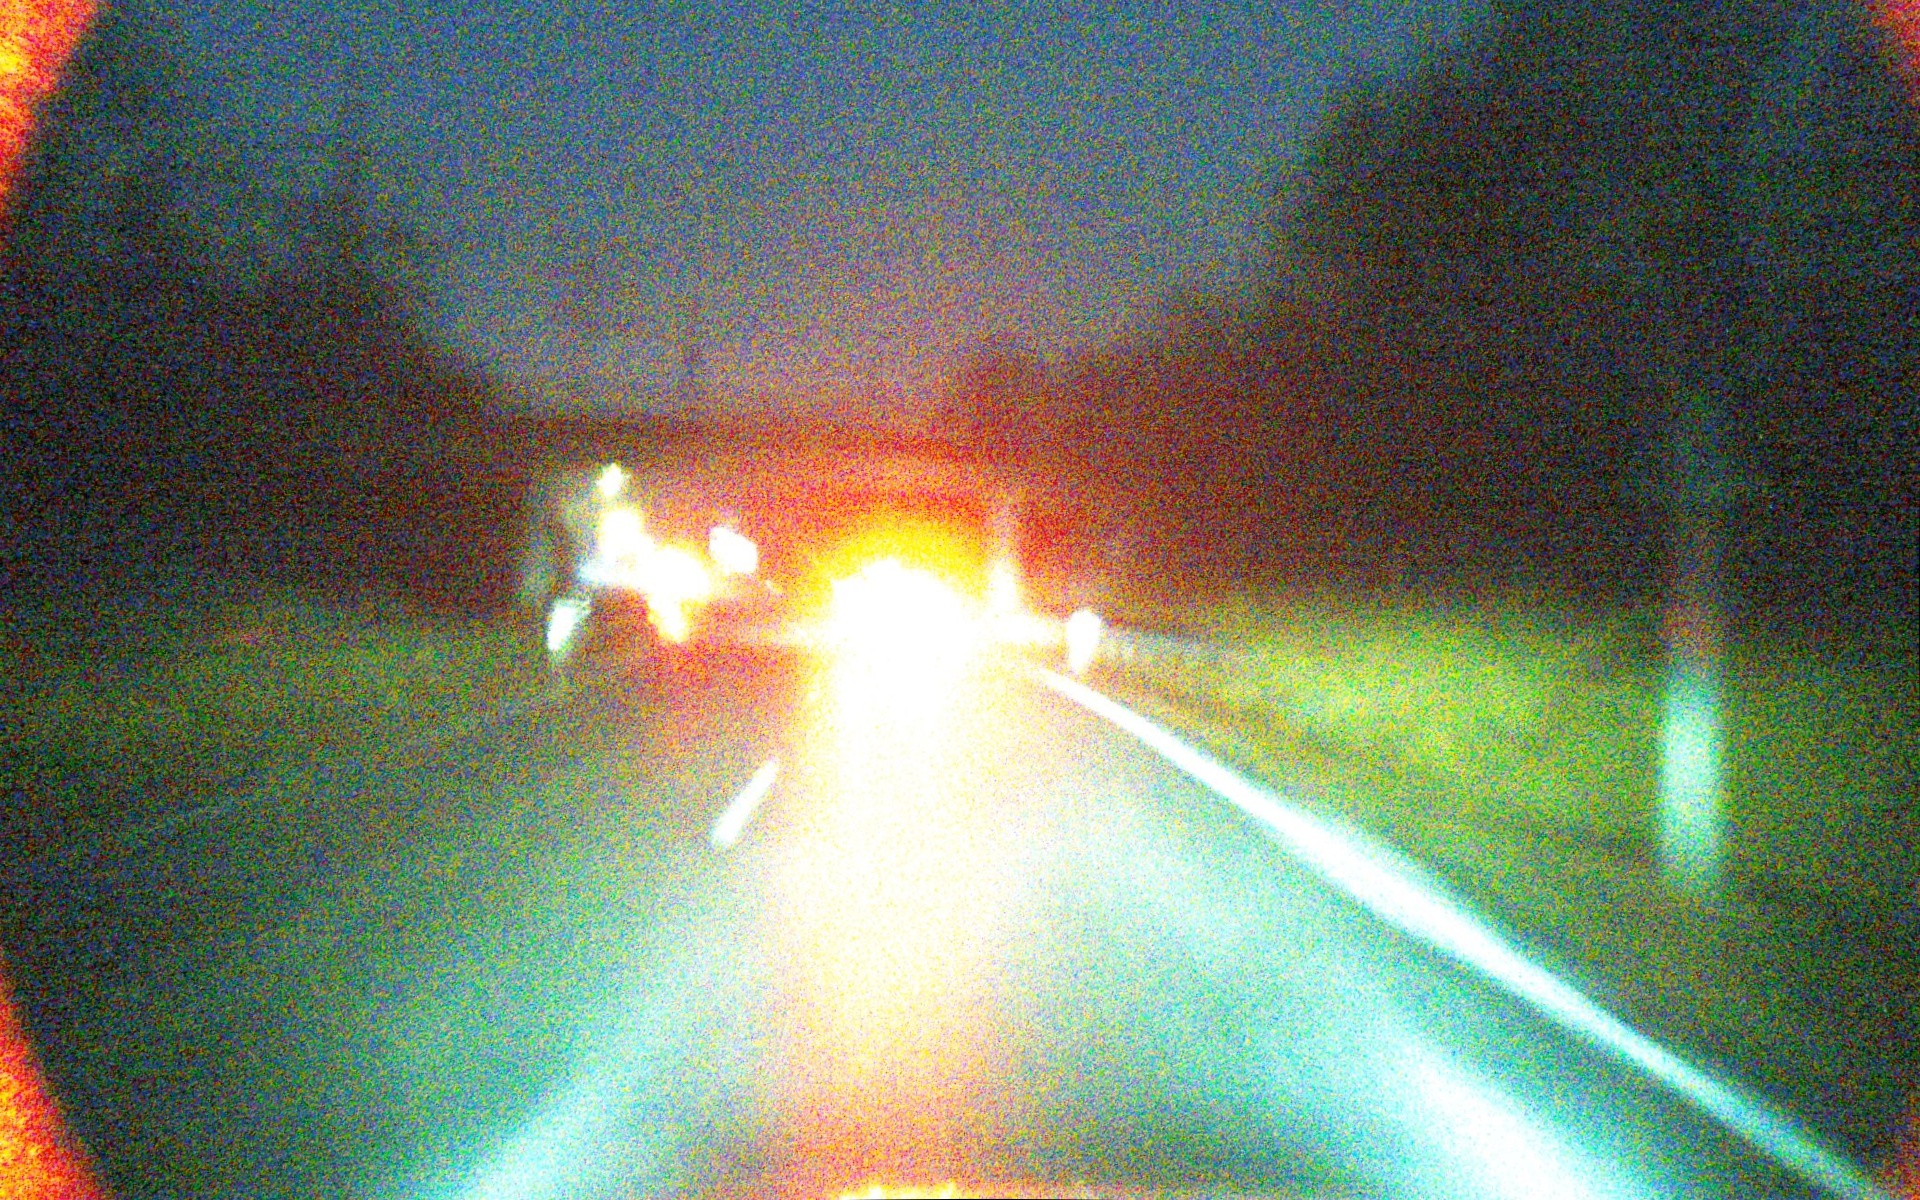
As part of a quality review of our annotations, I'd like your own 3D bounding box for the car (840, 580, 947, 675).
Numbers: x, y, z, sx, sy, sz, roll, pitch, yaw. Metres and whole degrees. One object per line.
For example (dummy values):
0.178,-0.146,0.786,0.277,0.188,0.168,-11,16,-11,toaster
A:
-1.402,0.475,33.174,1.954,1.656,4.981,1,1,-4,car
